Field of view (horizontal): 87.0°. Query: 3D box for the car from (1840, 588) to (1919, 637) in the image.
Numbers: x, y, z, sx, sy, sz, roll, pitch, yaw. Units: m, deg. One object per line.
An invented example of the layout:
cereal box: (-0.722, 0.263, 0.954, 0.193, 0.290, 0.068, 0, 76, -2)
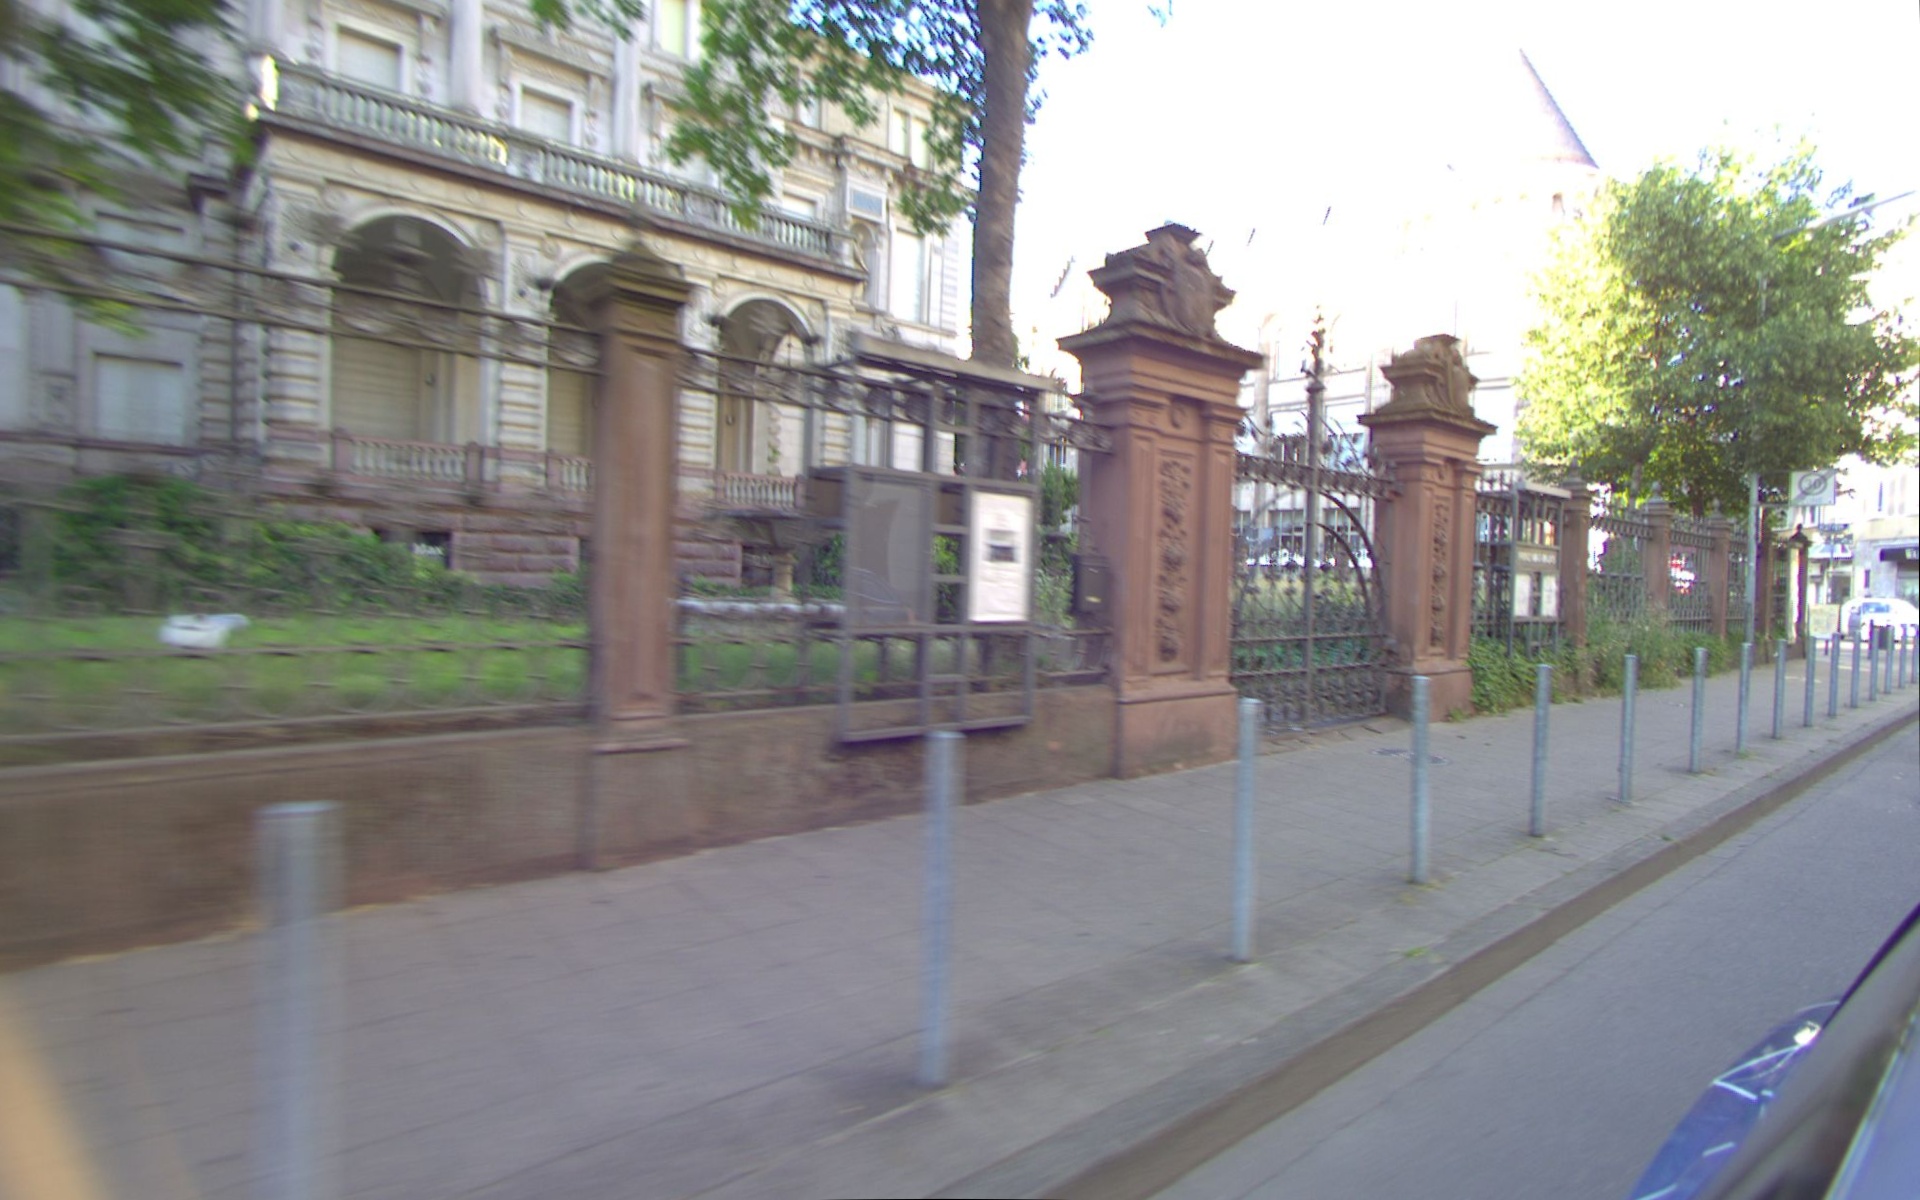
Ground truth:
car: (29.770, 0.352, 32.085, 1.984, 1.439, 4.411, 2, 2, 30)

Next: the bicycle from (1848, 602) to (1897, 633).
bicycle: (36.400, 0.678, 40.383, 0.656, 1.152, 1.814, 1, 2, 14)

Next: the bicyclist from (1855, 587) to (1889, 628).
bicyclist: (36.443, 0.292, 40.430, 0.651, 1.590, 0.859, 1, 1, 15)
